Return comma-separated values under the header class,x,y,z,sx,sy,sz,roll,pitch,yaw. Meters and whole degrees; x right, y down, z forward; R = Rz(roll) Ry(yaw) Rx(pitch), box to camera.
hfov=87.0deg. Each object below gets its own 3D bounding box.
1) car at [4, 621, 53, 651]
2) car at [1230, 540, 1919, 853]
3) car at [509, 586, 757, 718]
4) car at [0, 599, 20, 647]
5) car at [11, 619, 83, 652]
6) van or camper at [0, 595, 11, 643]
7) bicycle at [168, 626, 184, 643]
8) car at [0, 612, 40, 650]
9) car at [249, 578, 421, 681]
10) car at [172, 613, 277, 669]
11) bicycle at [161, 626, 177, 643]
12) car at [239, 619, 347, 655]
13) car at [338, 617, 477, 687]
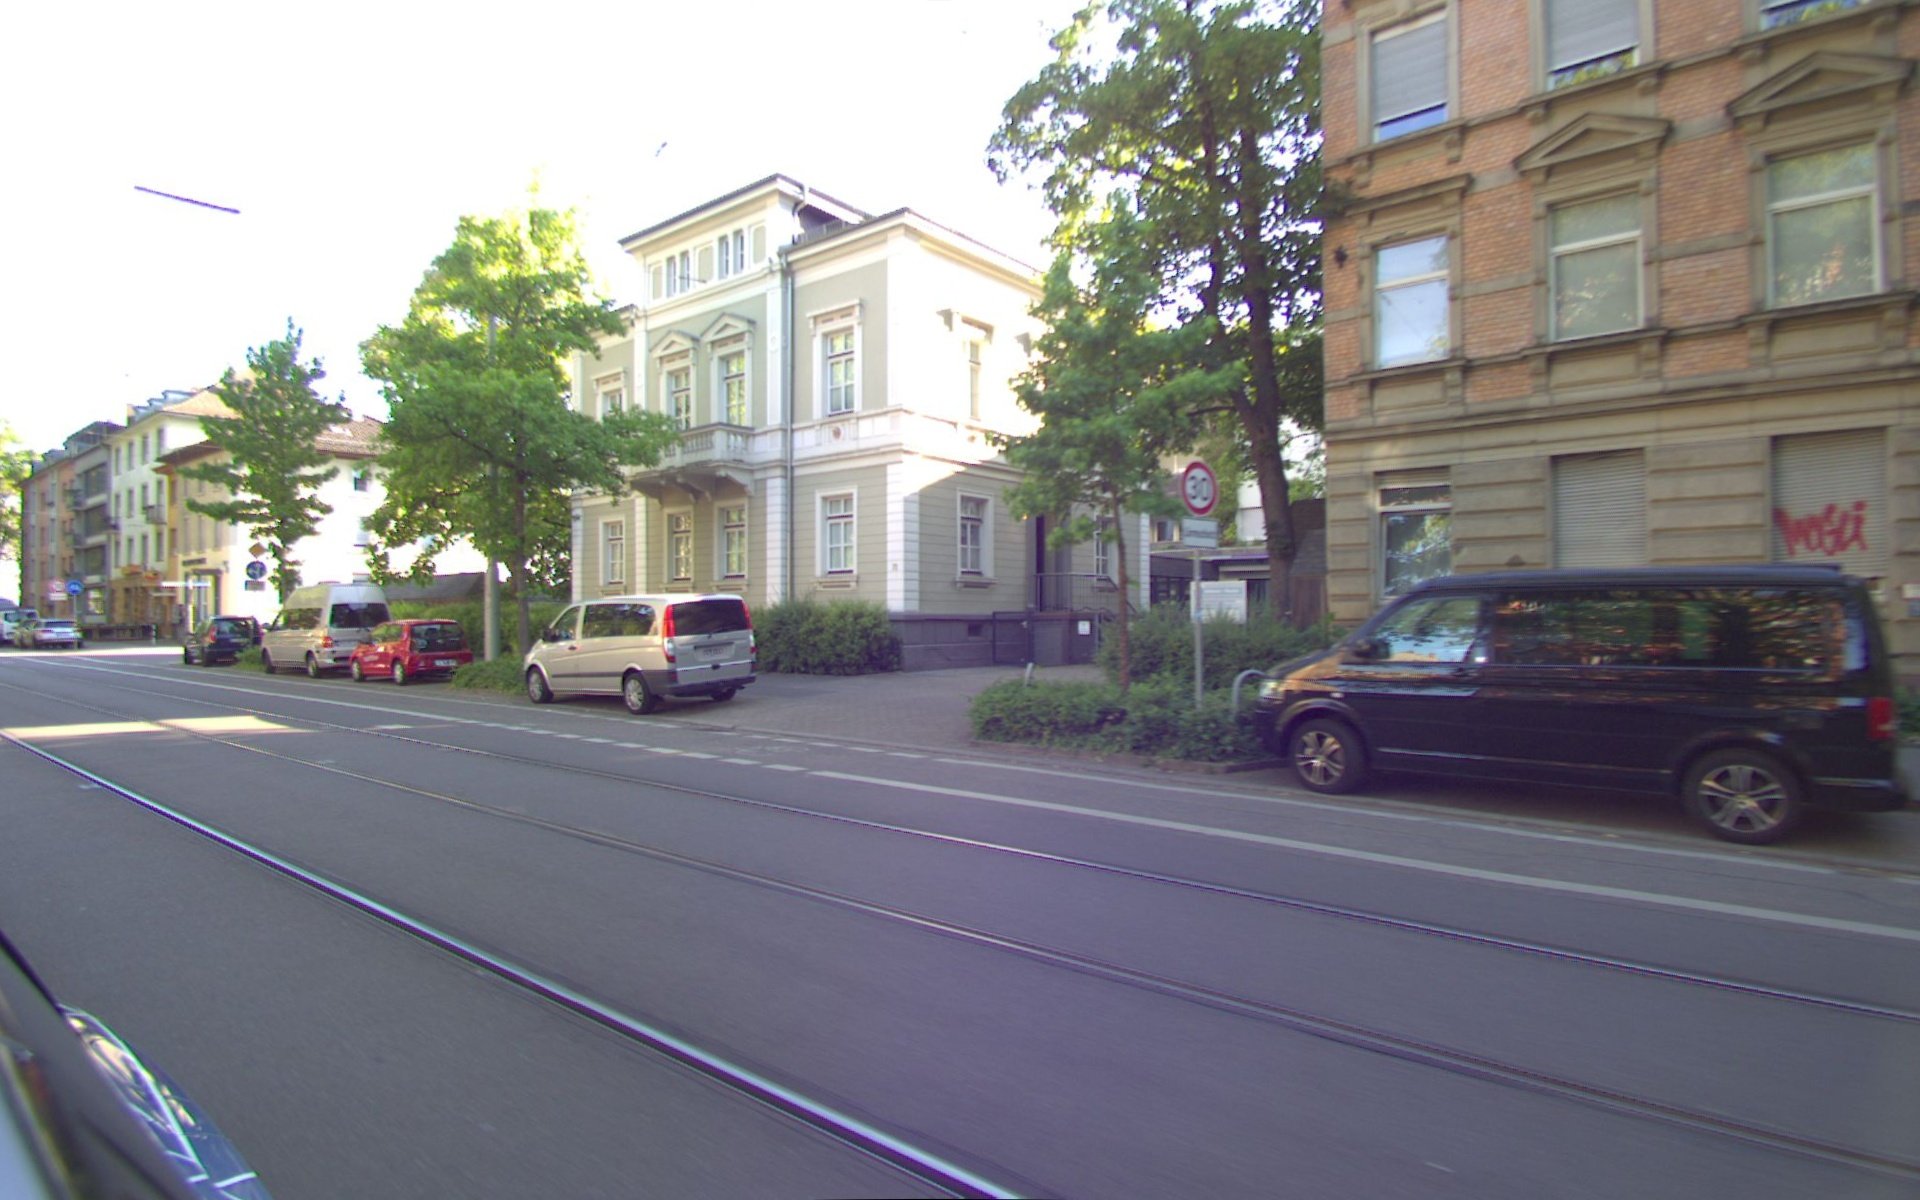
class,x,y,z,sx,sy,sz,roll,pitch,yaw
car,-49.174,1.864,53.395,2.880,1.504,1.555,-1,-1,40
car,5.037,0.677,8.782,4.828,2.029,1.974,-1,-2,39
car,-5.840,0.848,17.734,4.985,2.004,1.825,-1,-2,41
car,-58.335,1.426,60.885,4.542,2.767,1.904,-1,2,40
car,-45.509,1.740,50.402,4.933,1.504,1.755,-1,0,37
van or camper,-63.422,1.280,65.337,5.987,2.999,2.393,-1,2,41
bicycle,-43.488,1.909,56.150,1.646,0.935,0.358,-1,-2,40
car,-53.645,1.734,57.024,4.935,2.062,1.904,-1,-1,39
car,-17.035,0.787,27.482,5.336,2.527,2.282,-1,-2,38
car,-24.250,1.309,33.328,4.260,1.703,1.971,-1,-2,42
bicycle,-44.763,1.929,57.242,1.646,0.935,0.358,-1,-2,40
car,-32.264,1.766,49.007,1.966,1.630,4.017,-1,-2,43
car,-13.302,1.193,24.306,3.703,1.551,1.668,-1,-2,39
